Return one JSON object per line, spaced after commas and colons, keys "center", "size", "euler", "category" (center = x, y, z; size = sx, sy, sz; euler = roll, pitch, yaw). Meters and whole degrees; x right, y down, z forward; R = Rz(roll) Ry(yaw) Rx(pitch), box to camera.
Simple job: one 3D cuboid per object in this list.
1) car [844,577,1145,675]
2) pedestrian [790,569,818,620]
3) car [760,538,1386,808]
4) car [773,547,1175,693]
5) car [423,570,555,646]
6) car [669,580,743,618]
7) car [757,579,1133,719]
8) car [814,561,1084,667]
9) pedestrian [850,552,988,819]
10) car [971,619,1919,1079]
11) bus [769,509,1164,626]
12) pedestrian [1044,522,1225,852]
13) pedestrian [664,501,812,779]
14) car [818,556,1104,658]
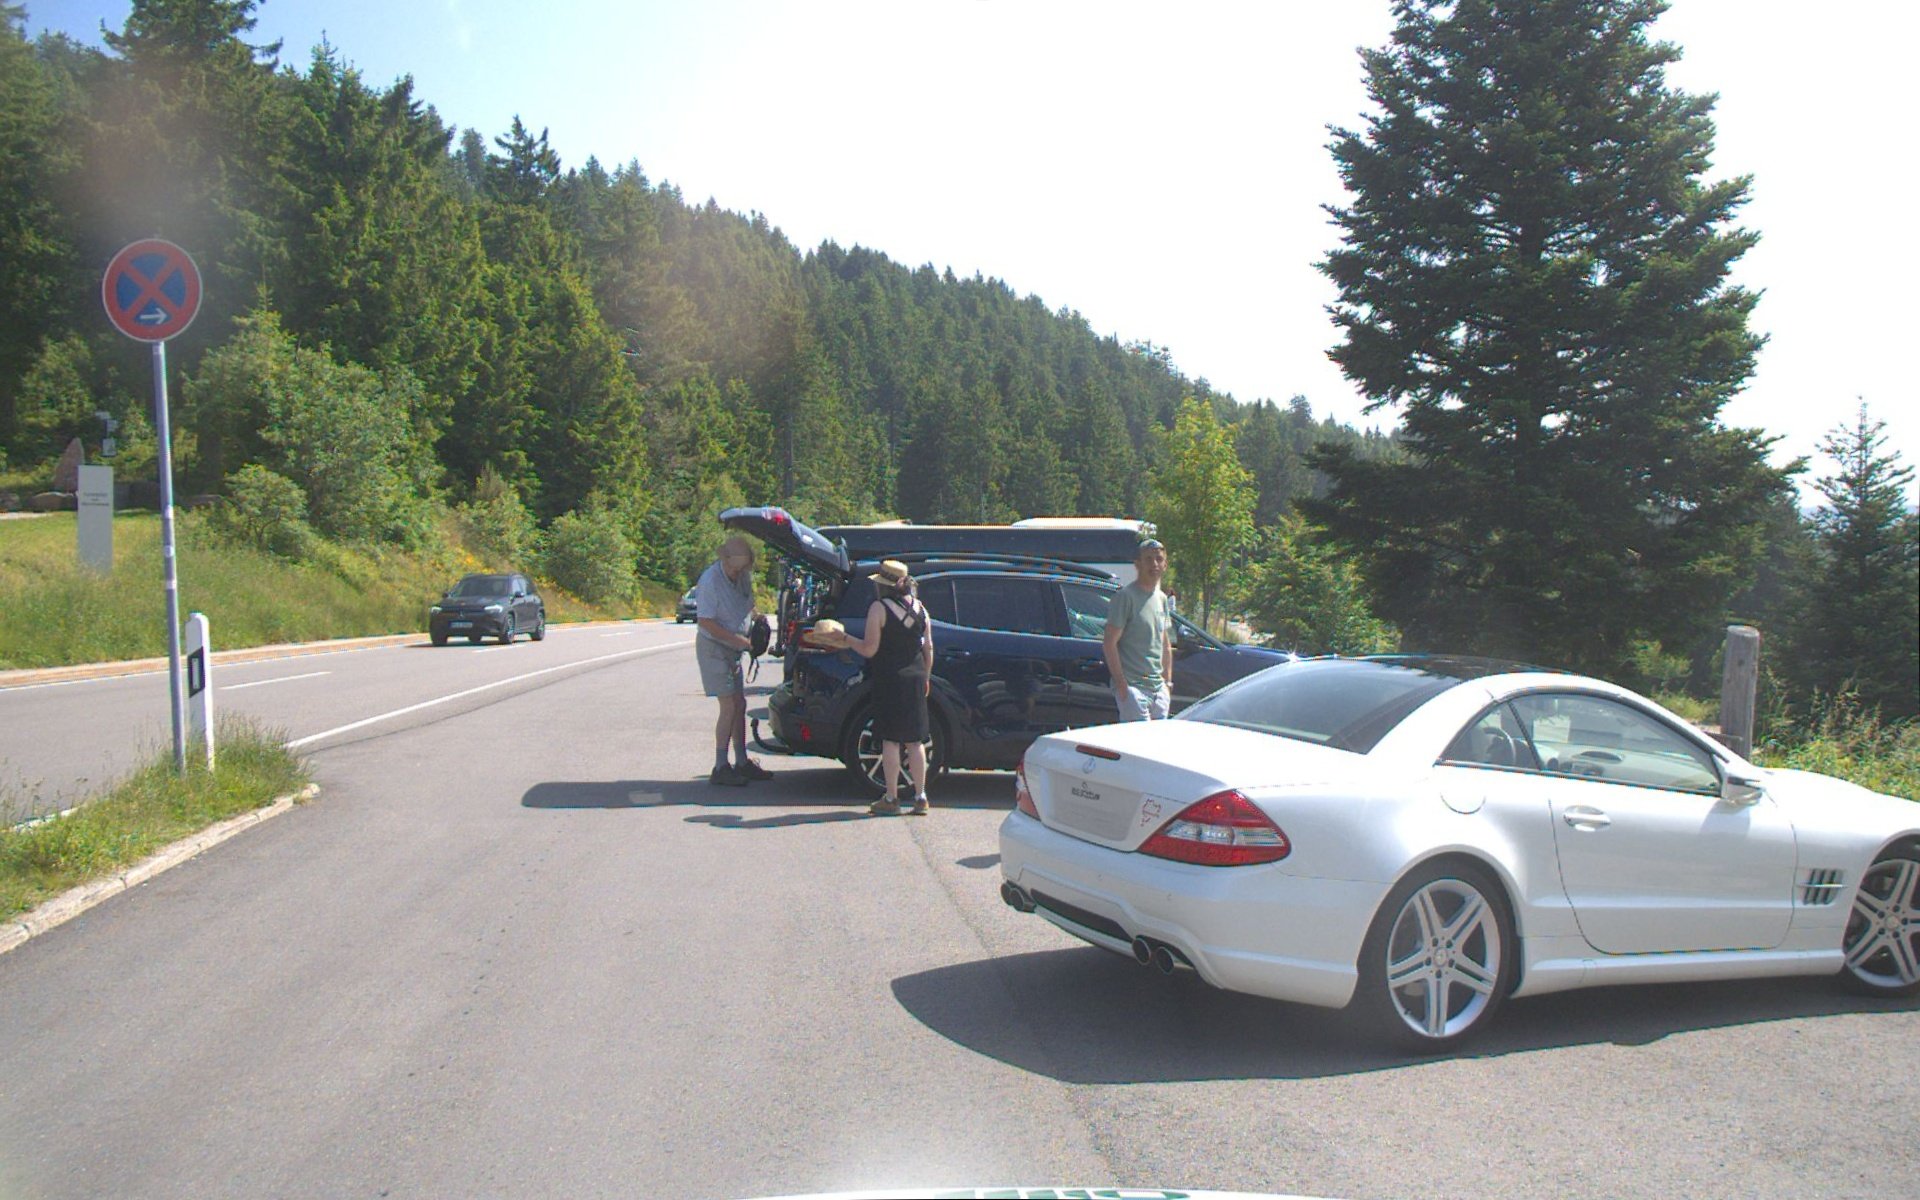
{"center": [0.445, 0.346, 23.831], "size": [4.159, 1.291, 1.837], "euler": [-1, 1, -3], "category": "car"}
{"center": [-4.923, -0.175, 52.287], "size": [0.754, 1.613, 0.773], "euler": [-1, 0, 3], "category": "pedestrian"}
{"center": [0.725, 0.523, 12.211], "size": [4.263, 1.654, 1.866], "euler": [3, -1, -9], "category": "car"}
{"center": [0.163, 0.226, 20.923], "size": [4.848, 1.725, 1.945], "euler": [0, 1, -1], "category": "car"}
{"center": [-11.237, 0.152, 39.754], "size": [1.953, 1.676, 4.566], "euler": [-1, 1, -2], "category": "car"}
{"center": [-10.407, -0.084, 68.039], "size": [1.839, 1.500, 4.718], "euler": [0, 1, 7], "category": "car"}
{"center": [-0.225, 0.534, 18.679], "size": [4.007, 1.400, 1.698], "euler": [2, 0, -10], "category": "car"}
{"center": [-0.199, 0.201, 26.479], "size": [4.159, 1.581, 1.837], "euler": [-1, 1, -3], "category": "car"}
{"center": [-0.265, 0.531, 10.568], "size": [0.704, 1.641, 0.533], "euler": [1, -1, -24], "category": "pedestrian"}
{"center": [2.382, 0.839, 6.782], "size": [4.344, 1.318, 1.741], "euler": [2, 1, -27], "category": "car"}
{"center": [0.318, -1.040, 54.985], "size": [12.815, 3.594, 3.046], "euler": [-1, 1, 7], "category": "bus"}
{"center": [1.018, 0.488, 9.707], "size": [0.740, 1.831, 0.727], "euler": [2, -1, -35], "category": "pedestrian"}
{"center": [-1.589, 0.254, 11.893], "size": [0.721, 1.903, 0.757], "euler": [3, 3, 27], "category": "pedestrian"}
{"center": [-0.021, 0.104, 29.609], "size": [4.934, 1.680, 2.047], "euler": [-1, 1, -3], "category": "car"}
